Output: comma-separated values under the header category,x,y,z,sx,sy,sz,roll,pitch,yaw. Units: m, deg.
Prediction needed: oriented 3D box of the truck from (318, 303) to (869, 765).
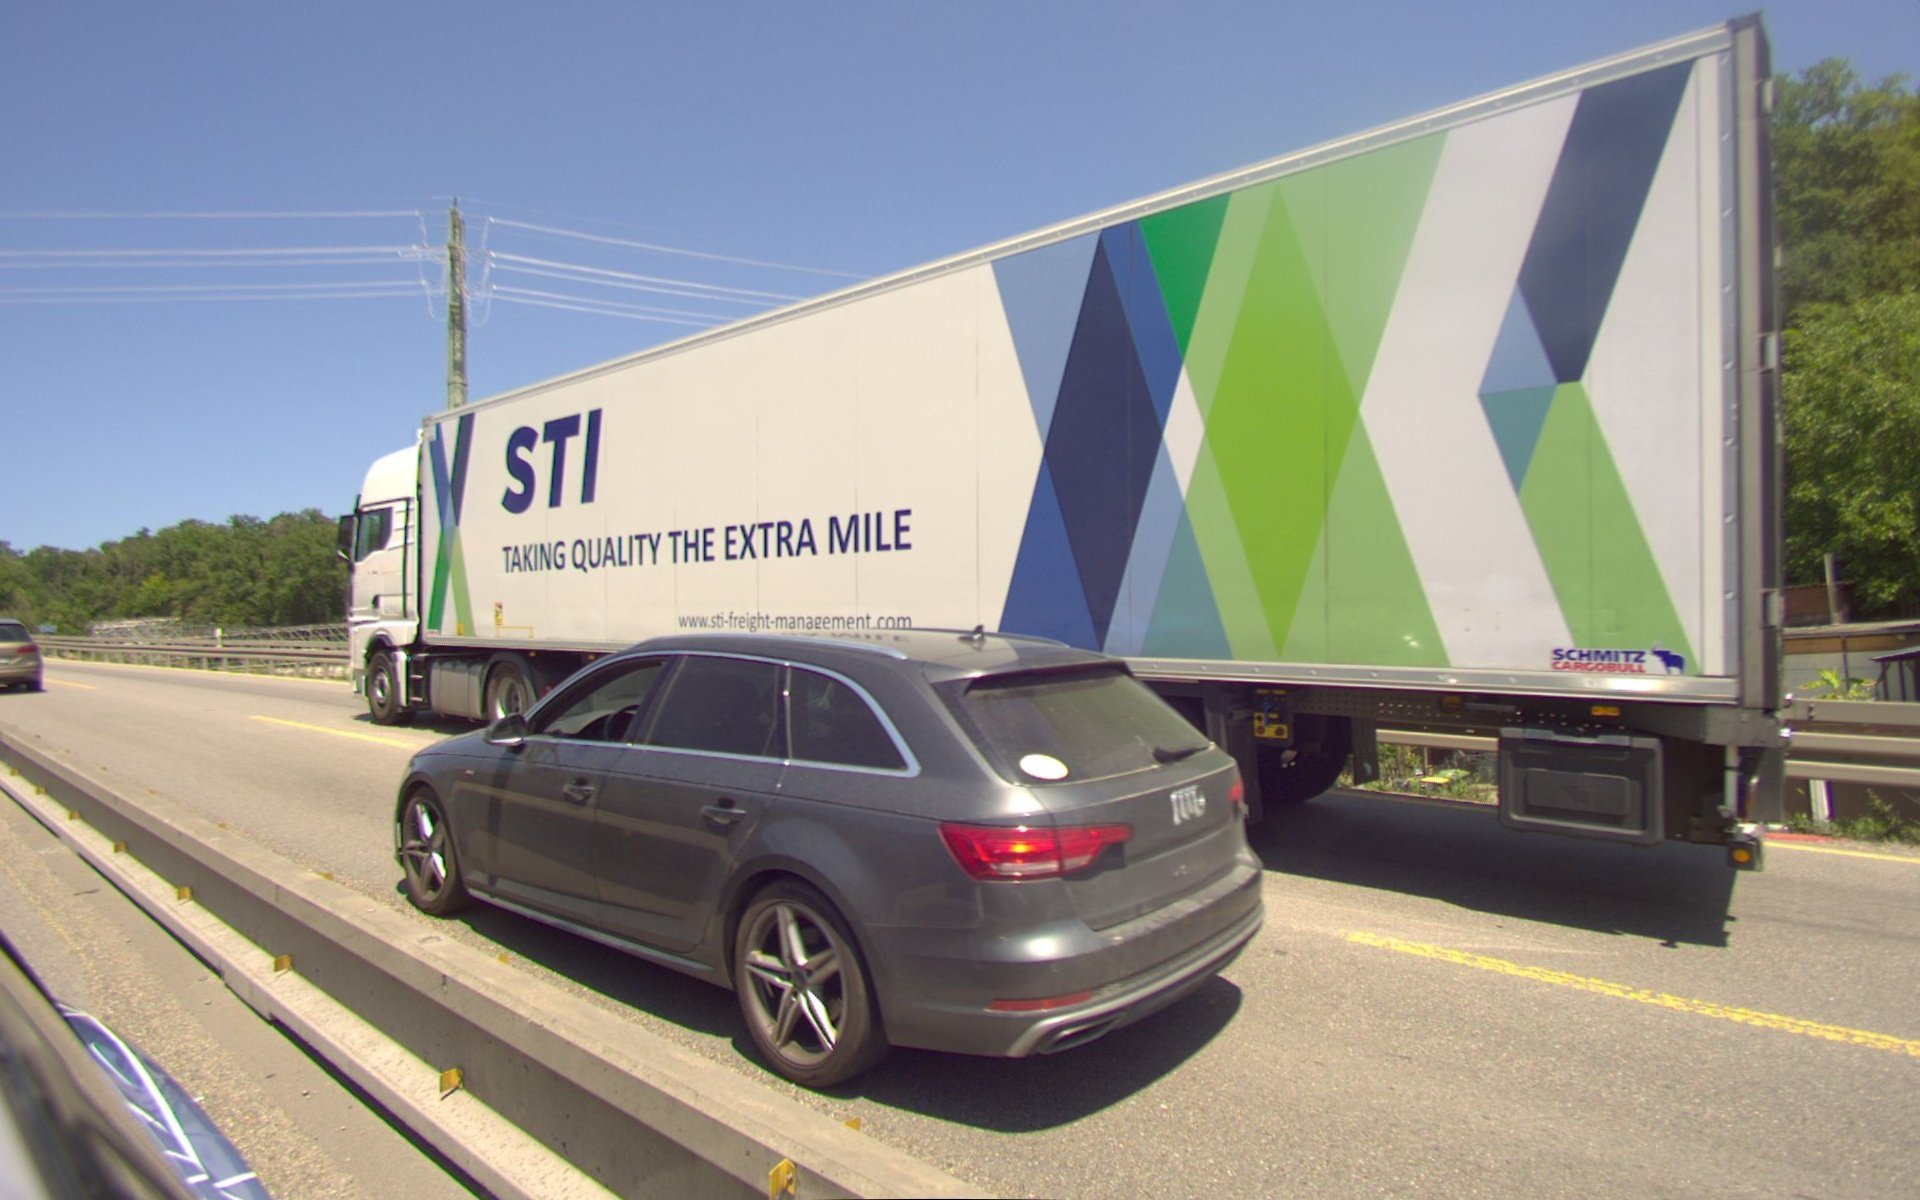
category,x,y,z,sx,sy,sz,roll,pitch,yaw
truck,-5.309,-0.579,13.560,8.295,4.395,3.270,-1,-1,40

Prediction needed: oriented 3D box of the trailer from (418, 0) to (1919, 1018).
category,x,y,z,sx,sy,sz,roll,pitch,yaw
trailer,-0.603,-0.602,9.458,14.053,4.411,3.218,-1,-1,42

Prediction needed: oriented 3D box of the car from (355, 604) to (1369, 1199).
category,x,y,z,sx,sy,sz,roll,pitch,yaw
car,-0.853,0.795,4.476,4.632,1.464,1.771,-1,-2,41

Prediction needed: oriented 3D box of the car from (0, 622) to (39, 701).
category,x,y,z,sx,sy,sz,roll,pitch,yaw
car,-21.135,1.264,21.455,3.996,1.586,1.827,-1,-1,39
